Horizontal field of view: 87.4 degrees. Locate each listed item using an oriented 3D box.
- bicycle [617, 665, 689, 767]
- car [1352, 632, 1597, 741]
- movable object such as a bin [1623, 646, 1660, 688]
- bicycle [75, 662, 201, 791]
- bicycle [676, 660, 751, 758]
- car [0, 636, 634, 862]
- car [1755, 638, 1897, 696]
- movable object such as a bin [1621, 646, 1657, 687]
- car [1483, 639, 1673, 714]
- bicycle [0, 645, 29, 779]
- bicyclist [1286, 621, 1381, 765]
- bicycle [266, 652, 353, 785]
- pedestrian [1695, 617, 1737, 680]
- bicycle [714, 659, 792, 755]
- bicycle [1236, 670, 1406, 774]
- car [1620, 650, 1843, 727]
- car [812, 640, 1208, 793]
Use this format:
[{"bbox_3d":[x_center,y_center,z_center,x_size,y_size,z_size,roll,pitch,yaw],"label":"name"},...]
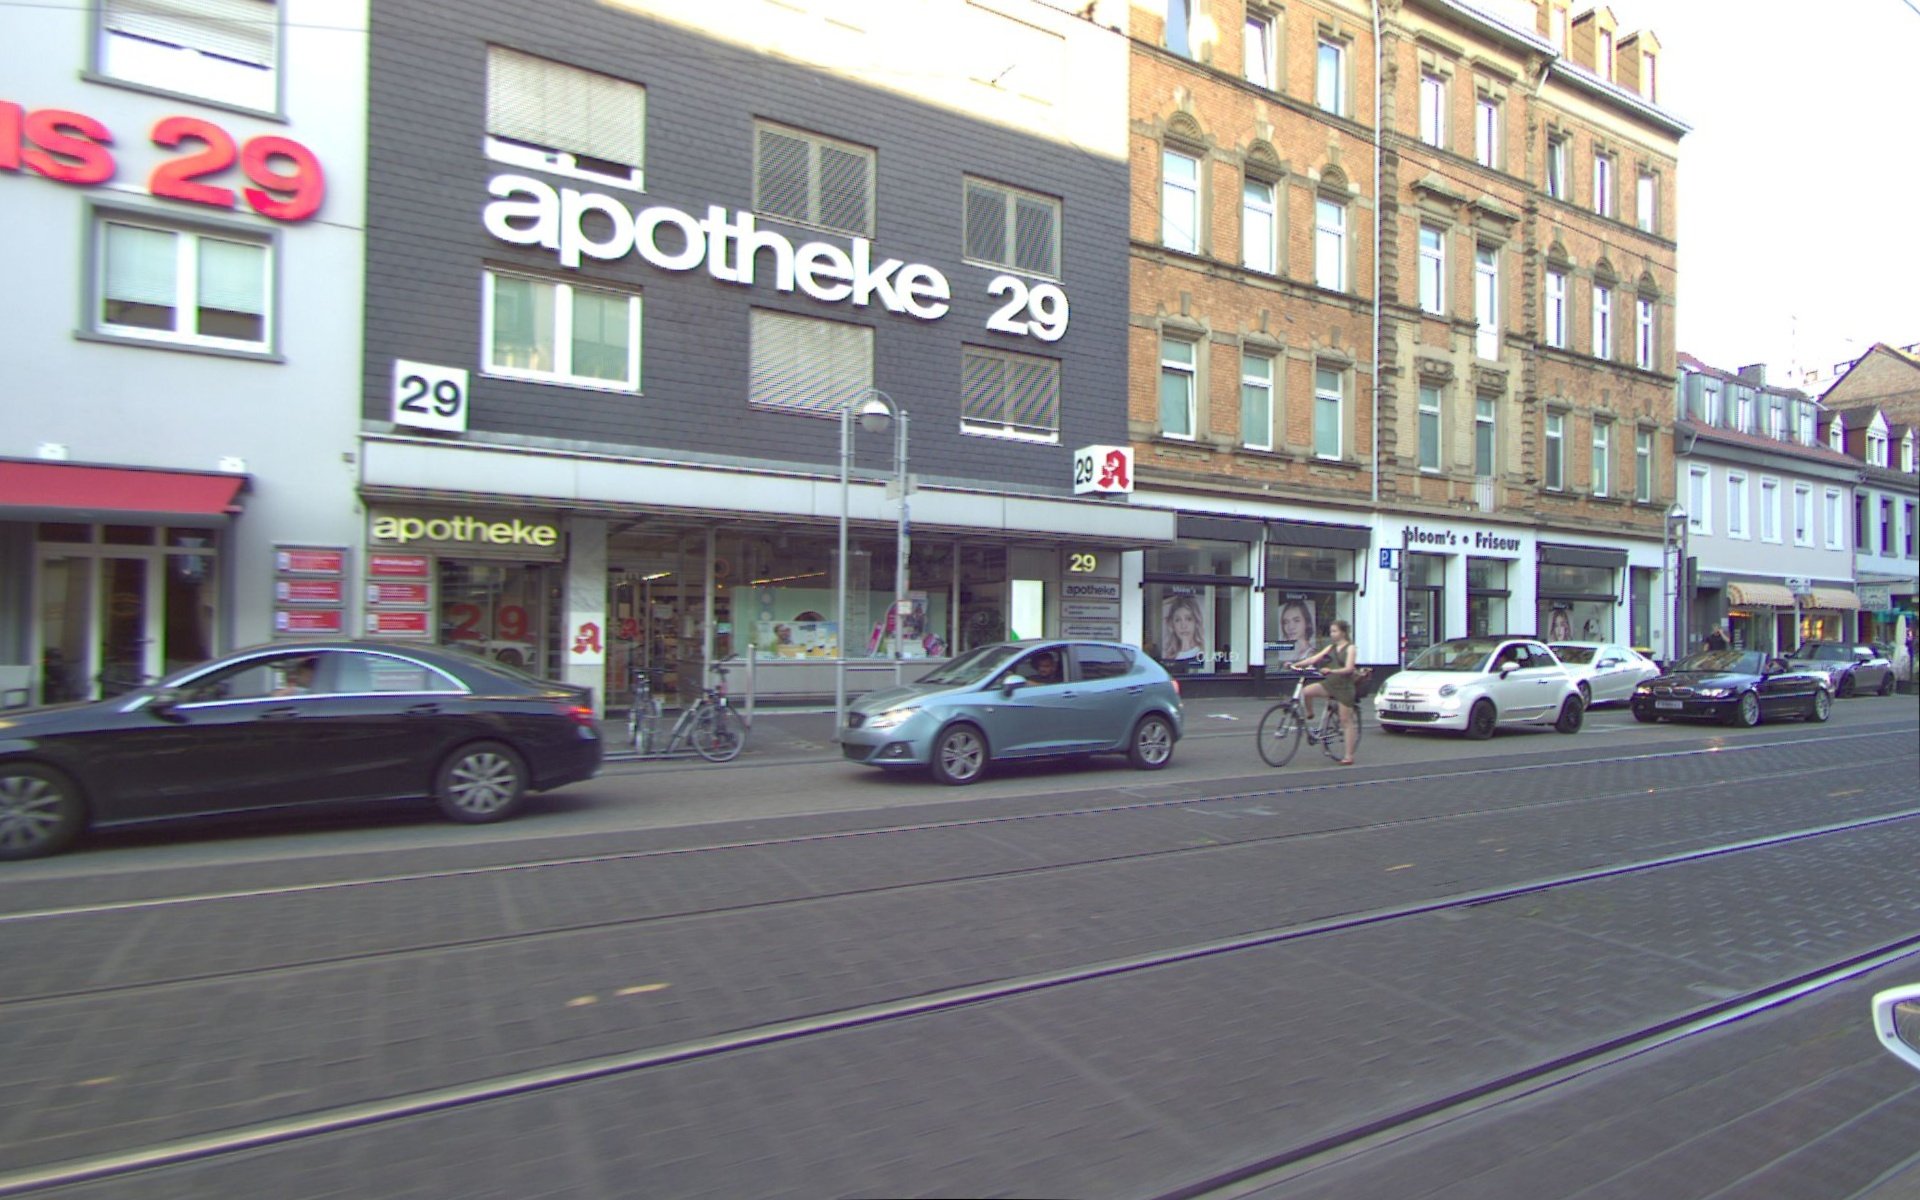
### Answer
[{"bbox_3d":[-3.791,1.374,12.321,0.486,0.997,1.848,1,1,-28],"label":"bicycle"},{"bbox_3d":[8.068,1.301,15.722,3.636,1.525,1.660,2,-4,-30],"label":"car"},{"bbox_3d":[19.156,1.874,28.246,0.720,1.146,0.588,1,-2,-29],"label":"movable object such as a bin"},{"bbox_3d":[-8.084,1.193,9.952,0.600,0.997,1.848,1,1,-28],"label":"bicycle"},{"bbox_3d":[-3.138,1.336,12.684,0.457,0.997,1.848,1,1,-28],"label":"bicycle"},{"bbox_3d":[-5.060,1.021,7.879,4.507,1.404,1.908,1,-4,-29],"label":"car"},{"bbox_3d":[23.962,1.822,27.788,3.817,1.408,1.726,2,1,-29],"label":"car"},{"bbox_3d":[19.593,1.918,28.979,0.720,1.146,0.588,1,-2,-29],"label":"movable object such as a bin"},{"bbox_3d":[13.453,1.602,21.816,4.225,1.408,1.750,2,1,-31],"label":"car"},{"bbox_3d":[-9.369,1.098,9.318,0.600,1.243,1.848,1,1,-28],"label":"bicycle"},{"bbox_3d":[4.293,1.043,11.566,0.790,1.586,0.690,1,-1,-30],"label":"bicyclist"},{"bbox_3d":[-6.899,1.201,10.713,0.600,1.149,1.848,1,1,-28],"label":"bicycle"},{"bbox_3d":[21.923,1.403,29.134,0.844,1.796,0.645,1,0,-29],"label":"pedestrian"},{"bbox_3d":[-2.696,1.338,12.938,0.457,0.997,1.848,1,1,-28],"label":"bicycle"},{"bbox_3d":[4.144,1.348,11.478,2.057,1.047,0.690,2,-2,-31],"label":"bicycle"},{"bbox_3d":[13.974,1.548,18.143,4.222,1.244,1.660,2,-4,-30],"label":"car"},{"bbox_3d":[0.577,1.166,10.969,4.011,1.404,1.752,1,-4,-29],"label":"car"}]
